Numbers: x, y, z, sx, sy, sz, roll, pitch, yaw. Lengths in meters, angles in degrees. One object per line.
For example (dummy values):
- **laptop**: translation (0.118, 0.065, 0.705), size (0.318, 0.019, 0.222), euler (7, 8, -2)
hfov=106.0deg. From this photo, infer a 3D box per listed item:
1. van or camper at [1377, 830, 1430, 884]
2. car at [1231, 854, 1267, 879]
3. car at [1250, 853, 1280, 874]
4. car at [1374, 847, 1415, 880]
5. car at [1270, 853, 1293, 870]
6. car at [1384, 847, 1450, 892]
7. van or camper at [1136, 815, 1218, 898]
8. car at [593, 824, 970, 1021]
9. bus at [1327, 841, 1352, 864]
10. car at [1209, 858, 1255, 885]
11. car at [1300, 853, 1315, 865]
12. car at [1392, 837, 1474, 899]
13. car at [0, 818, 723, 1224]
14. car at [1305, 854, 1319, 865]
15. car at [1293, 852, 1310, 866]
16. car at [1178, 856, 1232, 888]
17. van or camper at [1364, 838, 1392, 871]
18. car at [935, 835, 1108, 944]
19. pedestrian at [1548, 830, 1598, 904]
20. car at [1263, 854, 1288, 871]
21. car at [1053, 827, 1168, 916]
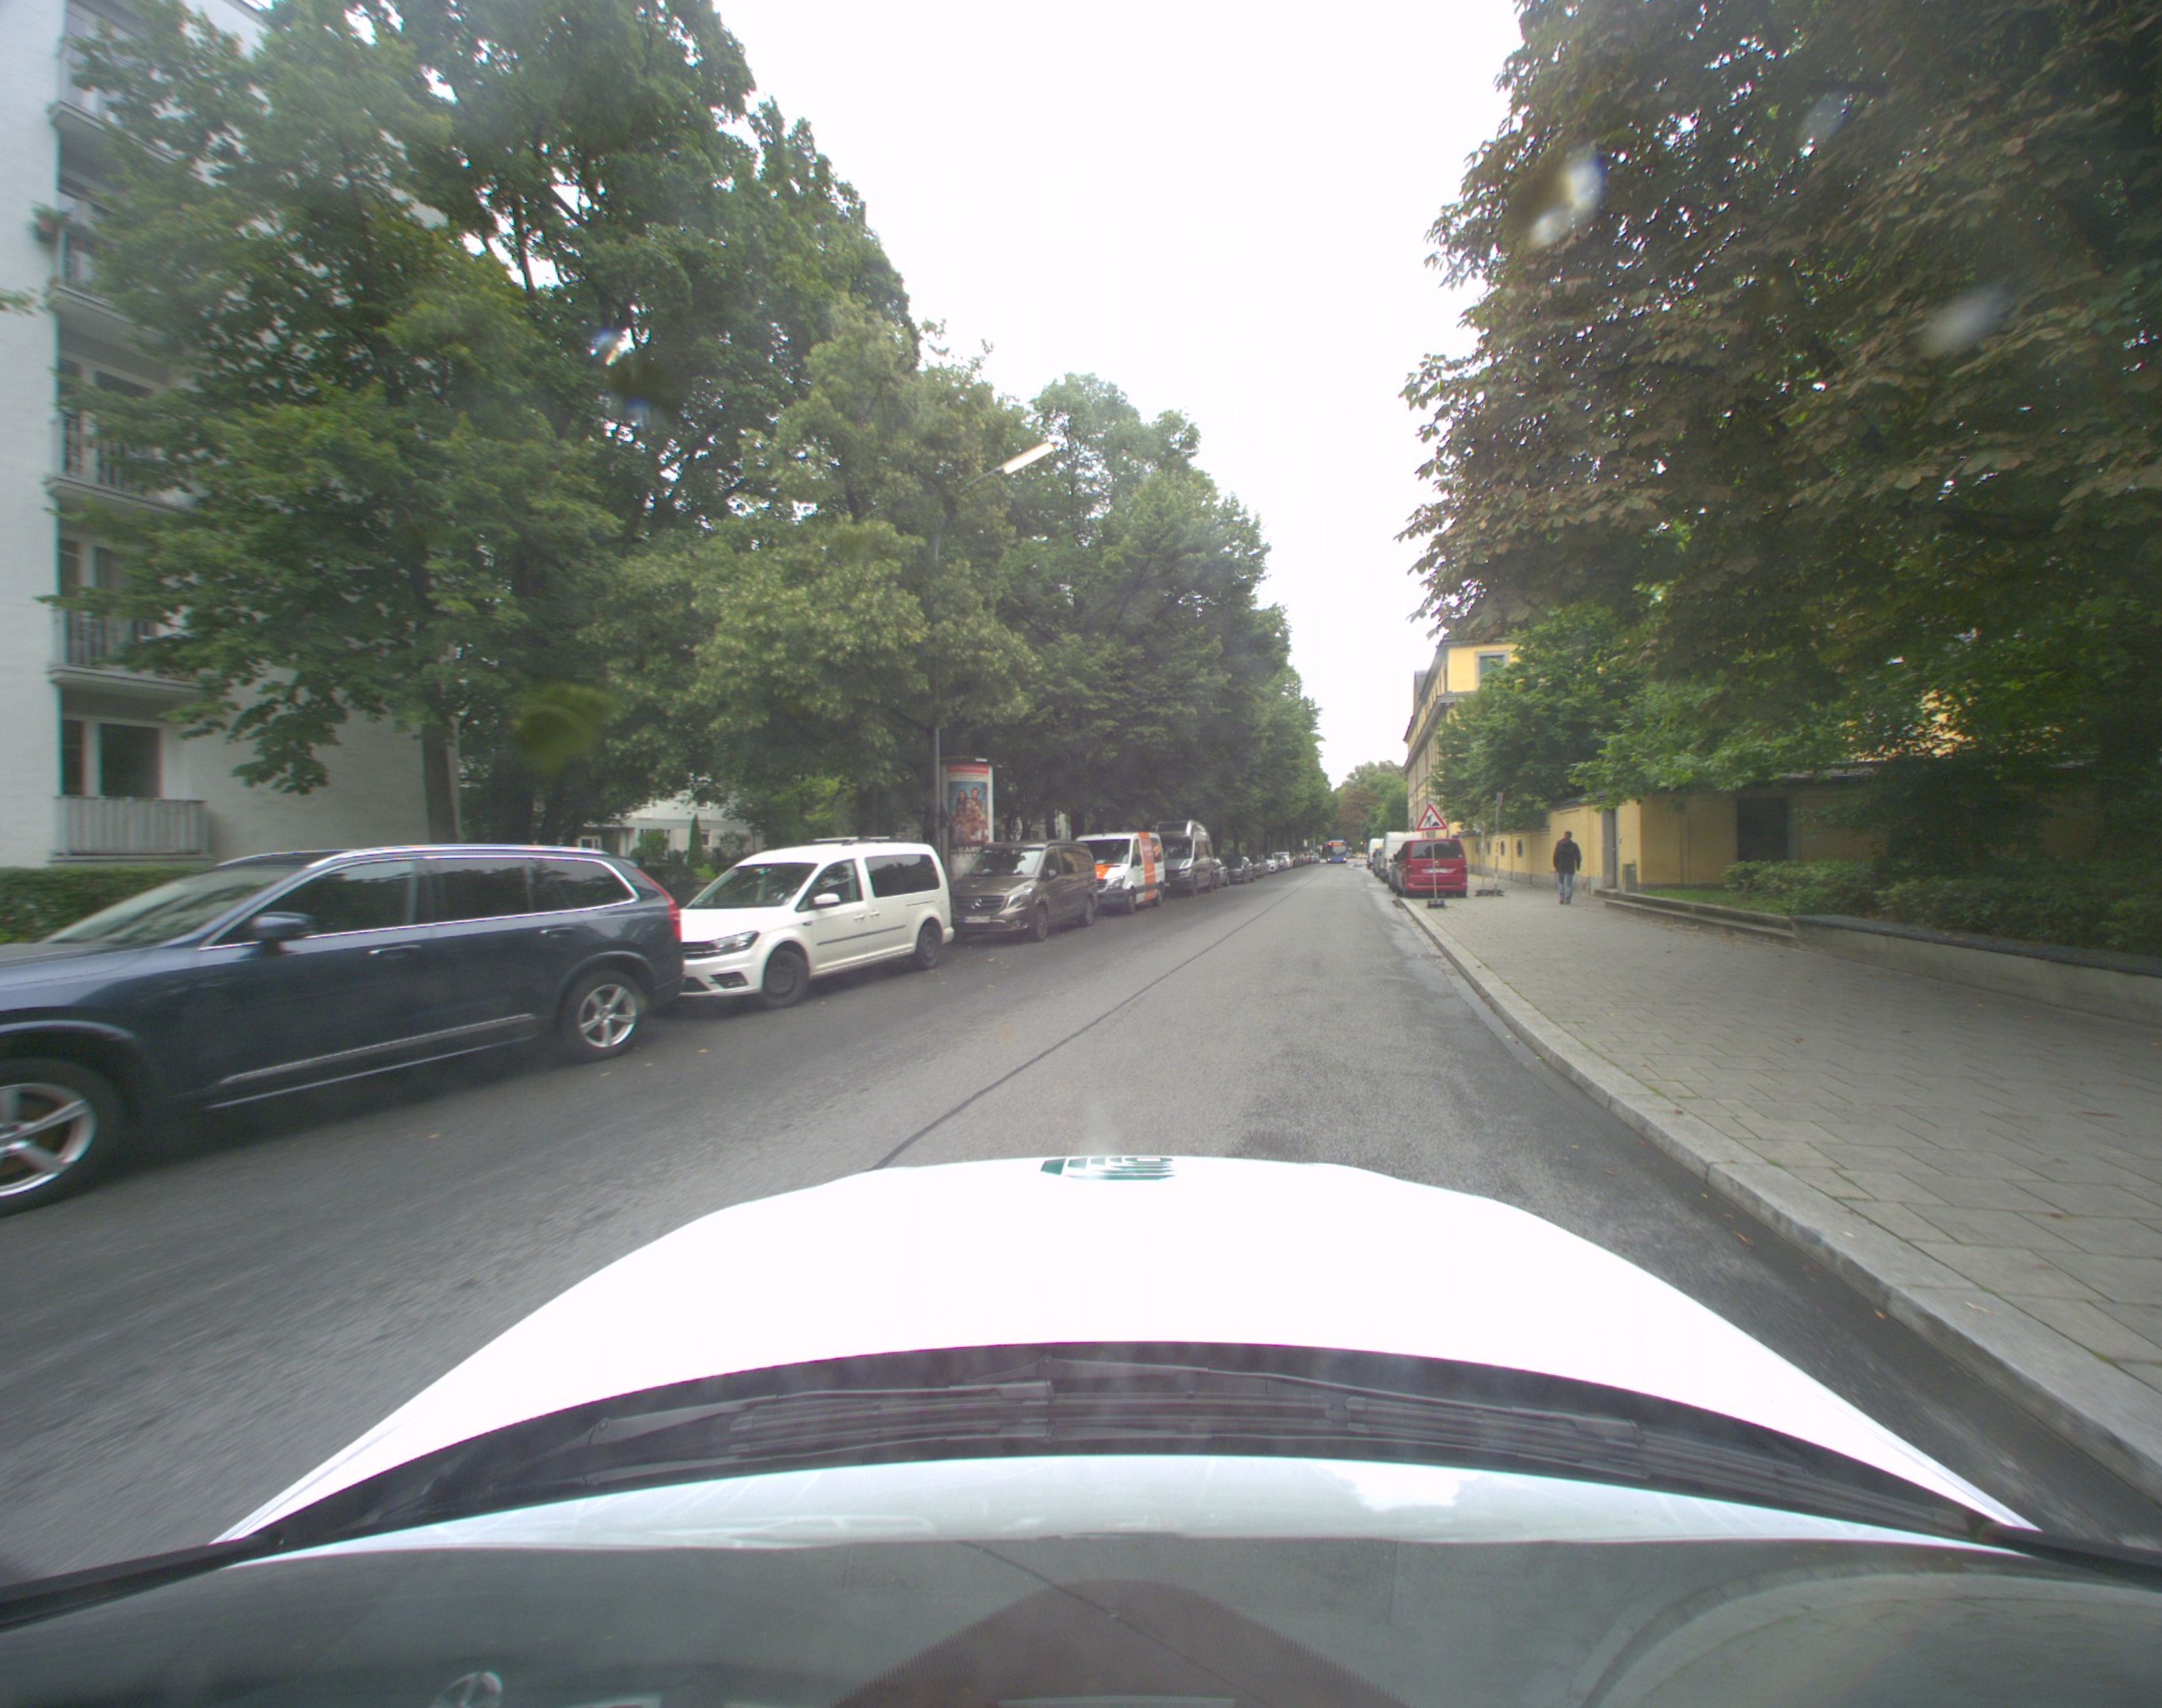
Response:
- **van or camper**: translation (16.557, 0.138, 42.050), size (2.115, 2.546, 5.267), euler (-2, -1, 18)
- **car**: translation (10.663, 0.757, 51.477), size (1.838, 1.473, 4.018), euler (-1, 0, 17)
- **car**: translation (14.081, 0.711, 62.048), size (1.837, 1.473, 4.019), euler (-1, 0, 18)
- **car**: translation (18.773, 0.522, 48.931), size (1.975, 1.844, 4.341), euler (-2, -1, 17)
- **car**: translation (19.017, 0.653, 77.162), size (1.837, 1.564, 4.019), euler (-1, 0, 18)
- **car**: translation (13.189, 0.569, 32.169), size (1.975, 1.609, 4.341), euler (-2, -1, 17)
- **van or camper**: translation (3.941, 0.113, 32.346), size (1.985, 2.945, 6.038), euler (-2, -1, 18)
- **car**: translation (-3.399, 0.686, 10.504), size (1.814, 1.918, 4.873), euler (-2, -1, 19)
- **bus**: translation (35.674, -0.244, 112.024), size (2.690, 2.899, 14.625), euler (-1, 0, 19)
- **car**: translation (8.054, 0.905, 43.191), size (1.859, 1.347, 4.019), euler (-1, 0, 18)
- **car**: translation (31.472, 0.730, 112.991), size (1.837, 1.572, 4.019), euler (-1, 0, 18)
- **car**: translation (11.593, 0.429, 27.130), size (1.975, 1.839, 4.735), euler (-2, -1, 17)
- **car**: translation (-5.114, 0.760, 5.542), size (1.977, 1.792, 4.938), euler (-2, -1, 20)
- **car**: translation (33.661, 0.791, 118.629), size (1.837, 1.473, 4.019), euler (-1, 0, 18)
- **car**: translation (28.405, 0.658, 104.768), size (1.837, 1.701, 4.019), euler (-1, 0, 18)
- **car**: translation (5.839, 0.806, 38.048), size (1.859, 1.416, 4.019), euler (-1, 0, 18)
- **van or camper**: translation (26.443, 0.053, 72.662), size (2.098, 2.733, 5.268), euler (-2, -1, 18)
- **car**: translation (-1.010, 0.652, 17.118), size (1.873, 1.933, 5.230), euler (-2, -1, 16)
- **pedestrian**: translation (12.453, 0.319, 20.637), size (0.866, 1.831, 1.057), euler (-1, 0, 19)
- **car**: translation (17.176, 0.750, 71.723), size (1.837, 1.473, 4.019), euler (-1, 0, 18)
- **car**: translation (1.021, 0.474, 23.838), size (1.931, 2.272, 5.267), euler (-2, -1, 18)
